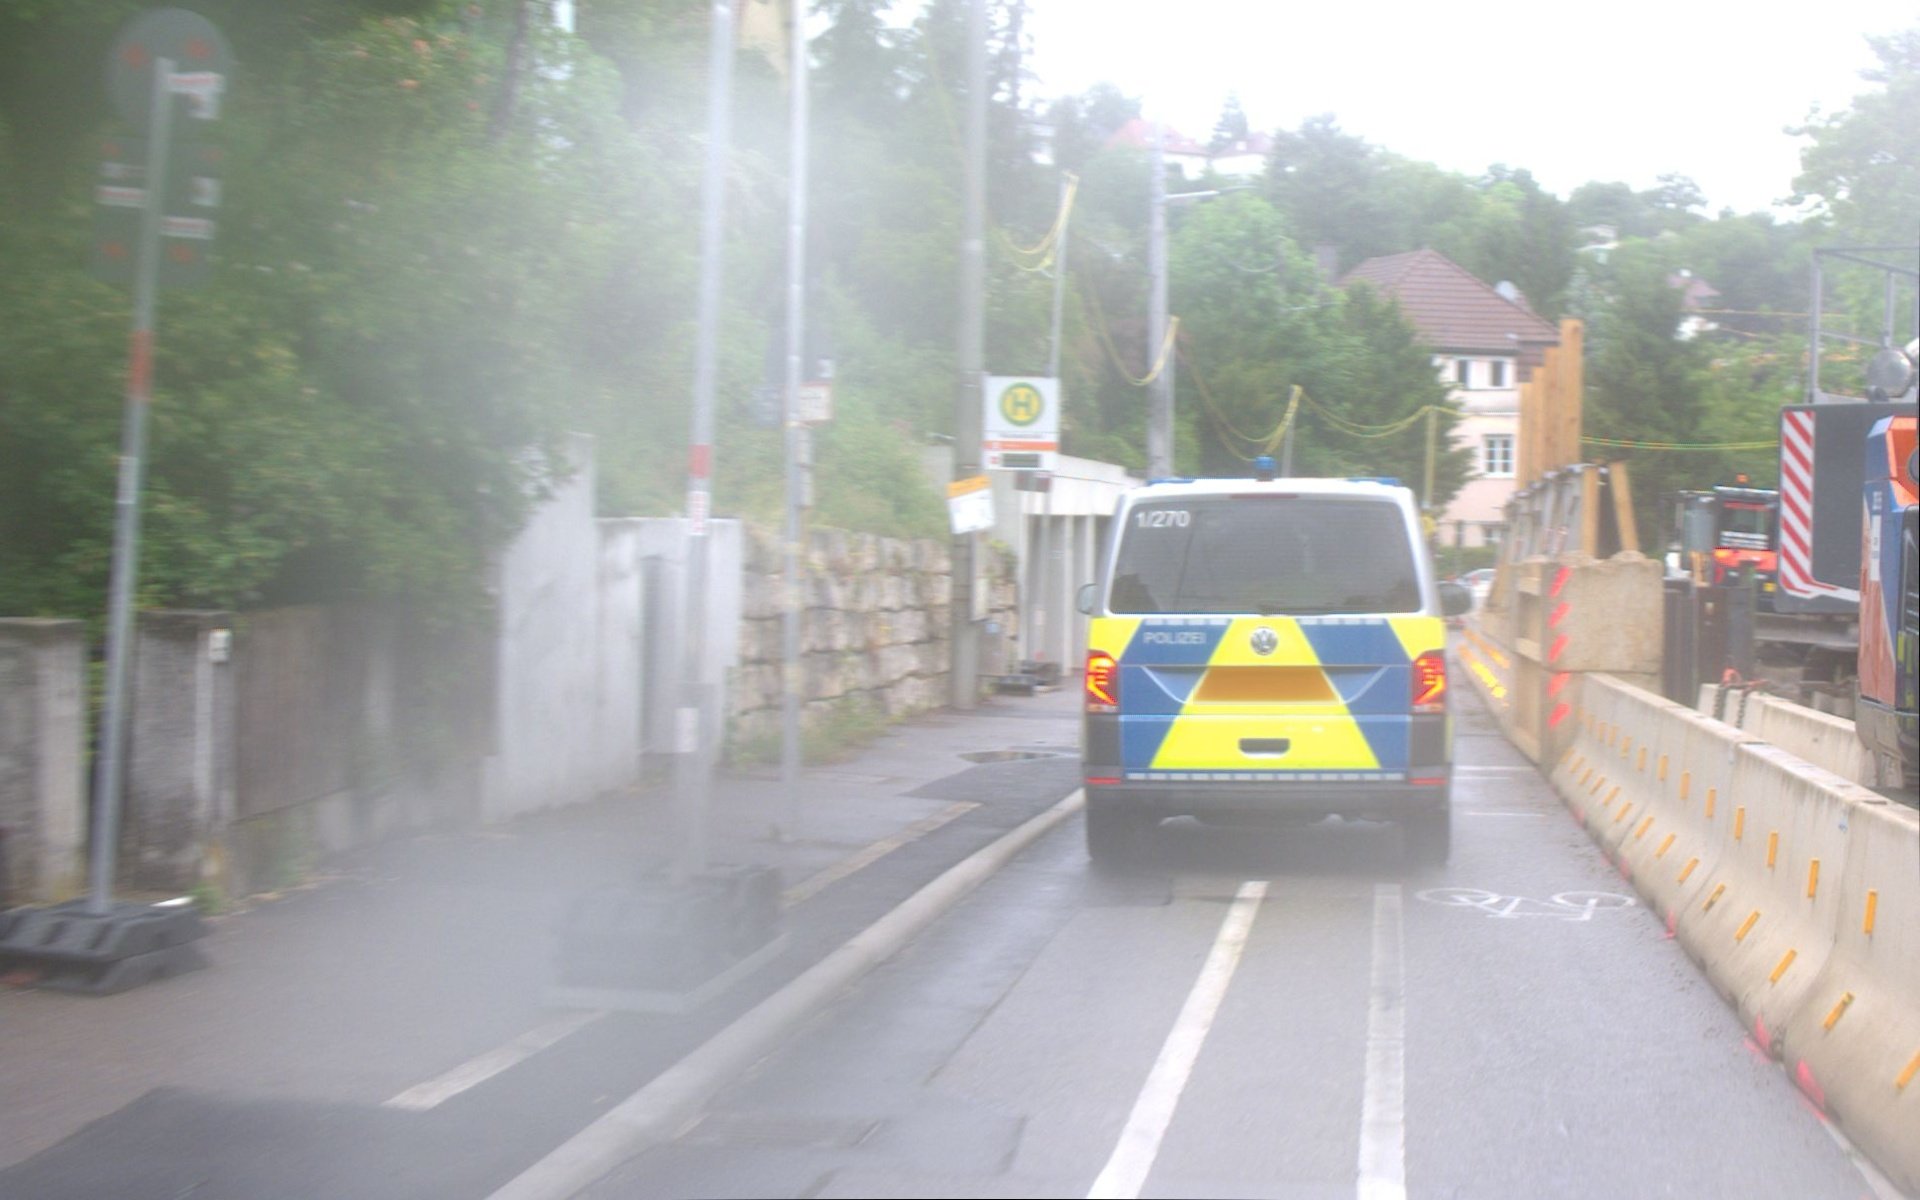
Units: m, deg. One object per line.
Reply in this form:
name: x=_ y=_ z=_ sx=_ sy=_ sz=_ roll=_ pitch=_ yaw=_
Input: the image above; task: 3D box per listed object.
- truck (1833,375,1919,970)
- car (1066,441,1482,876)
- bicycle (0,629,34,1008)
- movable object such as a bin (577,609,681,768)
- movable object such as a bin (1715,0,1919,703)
truck: x=4.734 y=0.264 z=12.610 sx=2.551 sy=2.101 sz=3.303 roll=0 pitch=0 yaw=7
car: x=1.757 y=0.278 z=18.696 sx=1.908 sy=2.003 sz=4.438 roll=2 pitch=0 yaw=7
bicycle: x=-3.638 y=0.619 z=10.405 sx=1.620 sy=1.127 sz=0.442 roll=2 pitch=0 yaw=21
movable object such as a bin: x=-2.059 y=0.545 z=21.418 sx=0.507 sy=0.961 sz=0.498 roll=2 pitch=0 yaw=7
movable object such as a bin: x=8.789 y=-1.818 z=25.575 sx=3.690 sy=5.049 sz=7.148 roll=0 pitch=0 yaw=35
